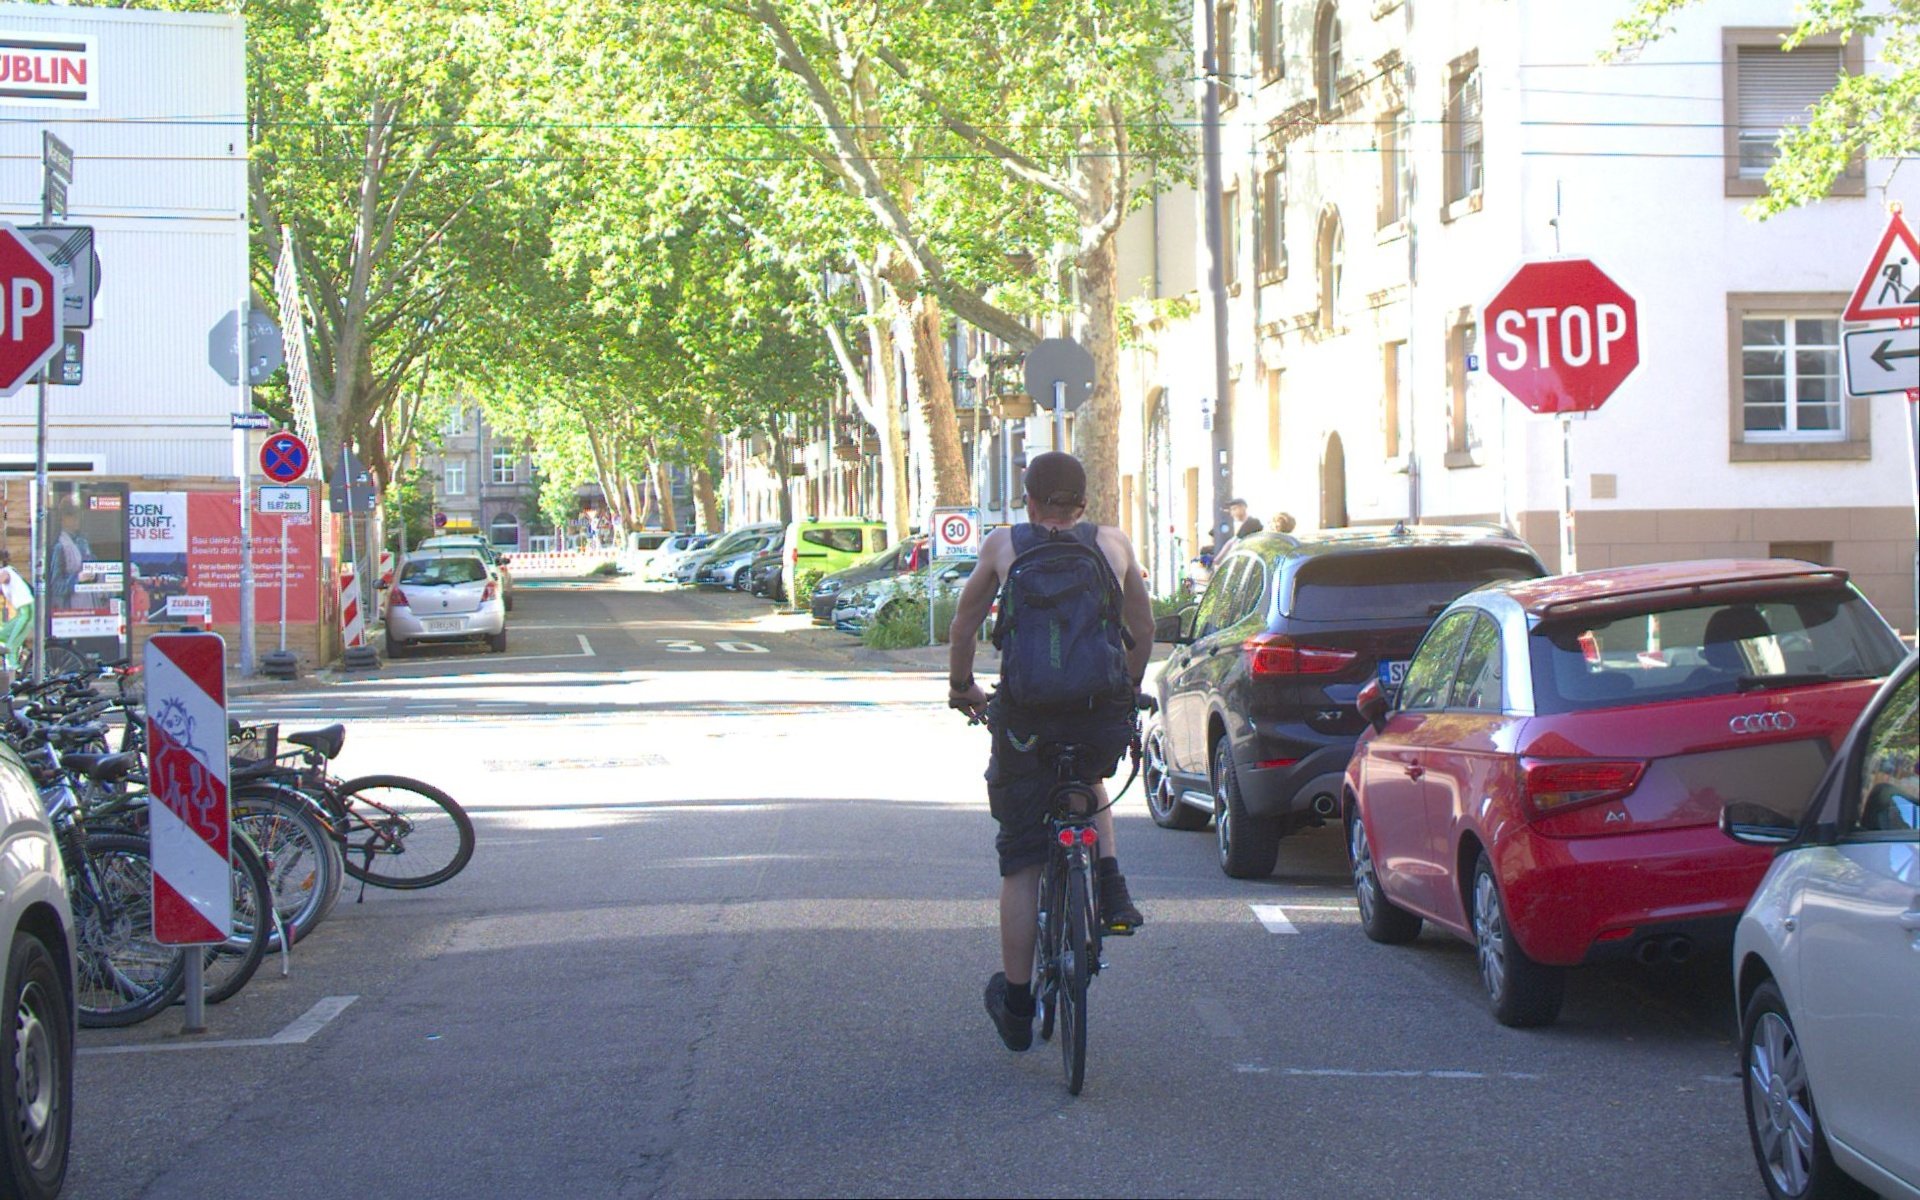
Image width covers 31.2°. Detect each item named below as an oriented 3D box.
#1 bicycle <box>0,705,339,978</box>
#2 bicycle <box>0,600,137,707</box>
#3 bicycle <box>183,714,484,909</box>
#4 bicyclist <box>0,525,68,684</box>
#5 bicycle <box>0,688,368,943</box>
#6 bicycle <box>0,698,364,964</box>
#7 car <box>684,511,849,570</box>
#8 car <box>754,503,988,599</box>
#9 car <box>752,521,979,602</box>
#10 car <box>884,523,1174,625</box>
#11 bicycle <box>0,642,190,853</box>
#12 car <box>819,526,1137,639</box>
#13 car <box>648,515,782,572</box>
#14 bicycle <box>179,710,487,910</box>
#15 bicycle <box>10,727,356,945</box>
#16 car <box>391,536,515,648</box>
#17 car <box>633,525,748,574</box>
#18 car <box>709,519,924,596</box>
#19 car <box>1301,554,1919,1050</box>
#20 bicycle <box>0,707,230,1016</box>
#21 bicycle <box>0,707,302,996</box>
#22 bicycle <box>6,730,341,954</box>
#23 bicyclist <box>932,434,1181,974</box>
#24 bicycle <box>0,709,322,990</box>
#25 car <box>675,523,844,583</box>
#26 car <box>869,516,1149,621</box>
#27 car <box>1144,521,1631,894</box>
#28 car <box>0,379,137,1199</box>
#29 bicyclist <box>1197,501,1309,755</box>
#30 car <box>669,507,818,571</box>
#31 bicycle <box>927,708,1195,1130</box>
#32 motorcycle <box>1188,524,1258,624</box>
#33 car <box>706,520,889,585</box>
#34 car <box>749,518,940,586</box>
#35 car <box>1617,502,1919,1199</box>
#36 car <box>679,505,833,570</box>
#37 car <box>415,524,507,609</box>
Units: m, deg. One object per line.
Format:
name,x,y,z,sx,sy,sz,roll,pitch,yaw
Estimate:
bicycle,-3.248,0.899,12.854,1.764,0.958,0.443,-1,1,-2
bicycle,-9.902,0.566,35.968,2.422,1.089,0.896,-1,0,-7
bicycle,-2.831,0.949,15.569,1.308,0.815,0.371,-1,1,-10
bicyclist,-9.965,0.047,35.961,1.096,1.634,0.896,-1,0,-7
bicycle,-3.303,0.865,13.897,1.764,0.958,0.428,-1,1,-8
bicycle,-3.251,0.896,13.465,1.764,0.958,0.481,-1,1,-13
car,-5.446,-1.667,96.450,4.460,1.565,1.729,-1,1,-8
car,-1.789,-0.992,68.565,4.460,1.830,1.729,-1,1,-9
car,-1.965,-0.803,70.580,4.460,1.565,1.729,-1,1,-8
car,1.097,-0.435,55.686,4.460,1.565,1.729,-1,1,-8
bicycle,-4.965,0.807,19.400,0.457,1.042,1.687,-2,4,-41
car,0.247,-0.281,50.711,4.460,1.565,1.729,-1,1,-8
car,-8.501,-1.959,119.148,4.460,1.891,1.729,-1,1,-8
bicycle,-2.768,0.920,15.199,1.308,0.815,0.355,-1,1,-10
bicycle,-3.315,1.002,14.730,1.386,0.815,0.362,-3,2,-10
car,-7.478,-0.154,50.499,1.643,1.489,4.001,-3,2,-9
car,-10.847,-2.047,138.287,4.460,1.891,1.729,-1,1,-8
car,-3.117,-0.935,74.403,4.460,1.565,1.729,-1,1,-8
car,2.361,0.604,12.605,1.645,1.498,3.955,1,1,-3
bicycle,-3.394,0.879,11.568,1.764,0.985,0.463,-1,1,-2
bicycle,-3.227,0.878,12.012,1.764,0.958,0.405,-1,1,-2
bicycle,-3.269,1.002,14.351,1.308,0.815,0.382,-3,2,-10
bicyclist,0.266,0.286,9.966,0.676,1.508,0.669,1,1,-1
bicycle,-3.231,0.901,12.421,1.764,0.958,0.422,-1,1,-2
car,-5.509,-1.303,94.109,4.460,1.565,1.729,-1,1,-8
car,0.807,-0.540,57.752,4.460,1.665,1.729,-1,1,-8
car,2.027,0.443,17.489,1.760,1.656,4.198,1,1,-3
car,-2.952,0.527,6.410,1.679,1.903,4.519,-4,1,-1
bicyclist,1.982,0.184,23.191,0.542,1.682,0.652,0,0,27
car,-6.715,-1.888,106.458,4.460,1.891,1.729,-1,1,-8
bicycle,0.257,0.871,10.017,0.689,1.013,1.907,1,1,-1
motorcycle,3.581,-0.364,46.947,0.513,1.328,1.764,-1,1,-10
car,-4.120,-1.203,86.983,4.460,1.565,1.729,-1,1,-8
car,-2.828,-1.178,83.918,4.460,1.565,1.729,-1,1,-8
car,2.576,0.610,6.845,1.636,1.581,3.789,1,1,-3
car,-6.165,-1.895,103.737,4.460,1.891,1.729,-1,1,-8
car,-9.679,-0.672,66.502,1.665,1.557,4.001,-1,1,-9
